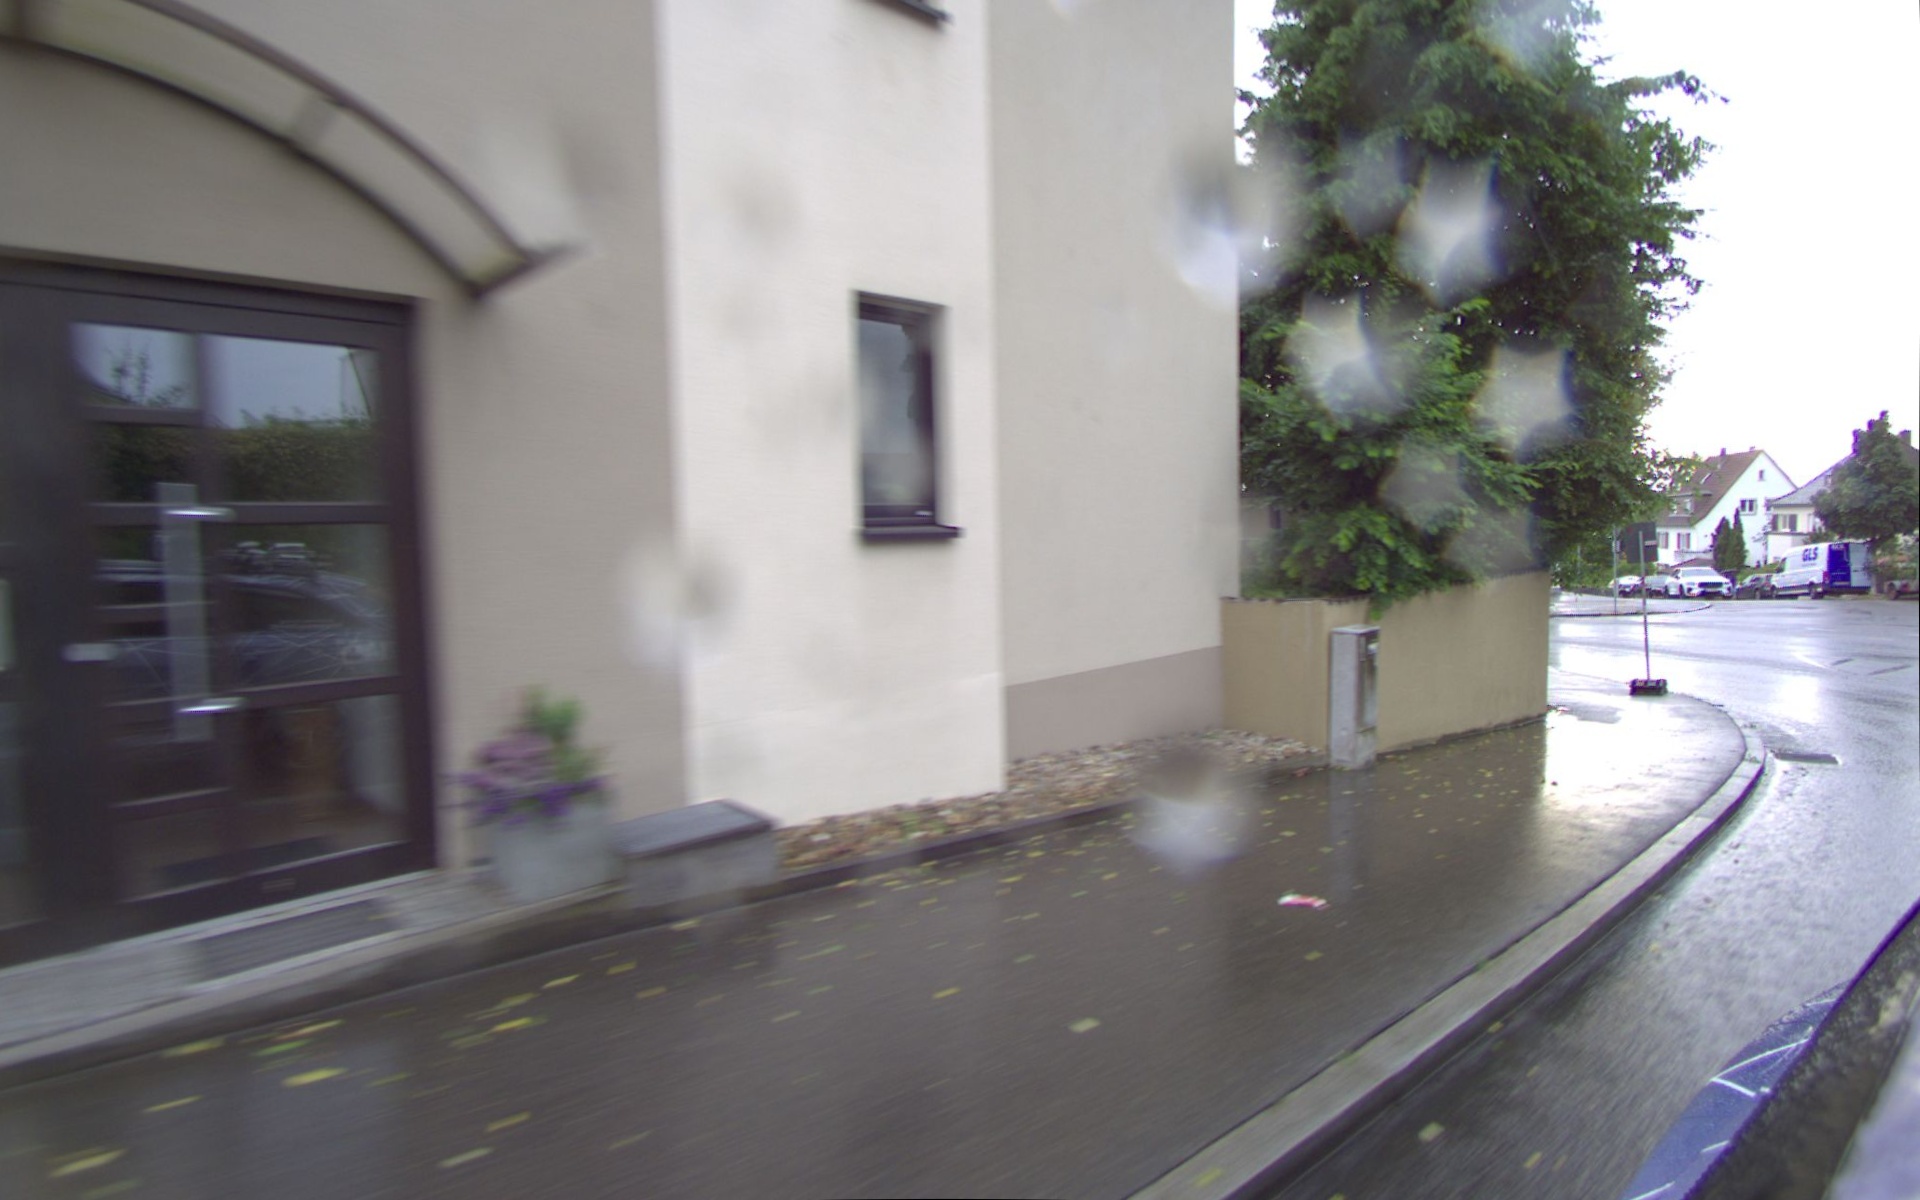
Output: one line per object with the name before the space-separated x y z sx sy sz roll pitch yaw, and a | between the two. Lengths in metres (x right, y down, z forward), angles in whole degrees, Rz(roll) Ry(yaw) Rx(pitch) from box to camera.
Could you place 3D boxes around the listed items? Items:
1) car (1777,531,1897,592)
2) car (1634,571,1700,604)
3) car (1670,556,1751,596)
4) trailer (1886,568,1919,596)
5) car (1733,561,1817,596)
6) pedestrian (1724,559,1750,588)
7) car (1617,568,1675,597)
car | 40.926 -1.796 47.462 2.164 2.554 6.213 -2 1 21
car | 37.546 -0.703 53.876 2.045 1.528 4.446 -2 1 25
car | 35.288 -1.159 47.696 2.045 1.727 4.755 -2 1 25
trailer | 38.641 -0.736 40.508 1.578 1.019 2.797 -3 0 27
car | 43.381 -1.177 53.996 2.042 1.727 4.763 -2 1 21
pedestrian | 41.177 -1.411 53.640 0.817 1.528 0.969 -2 1 25
car | 39.907 -1.030 58.968 2.045 1.528 4.446 -2 1 25
